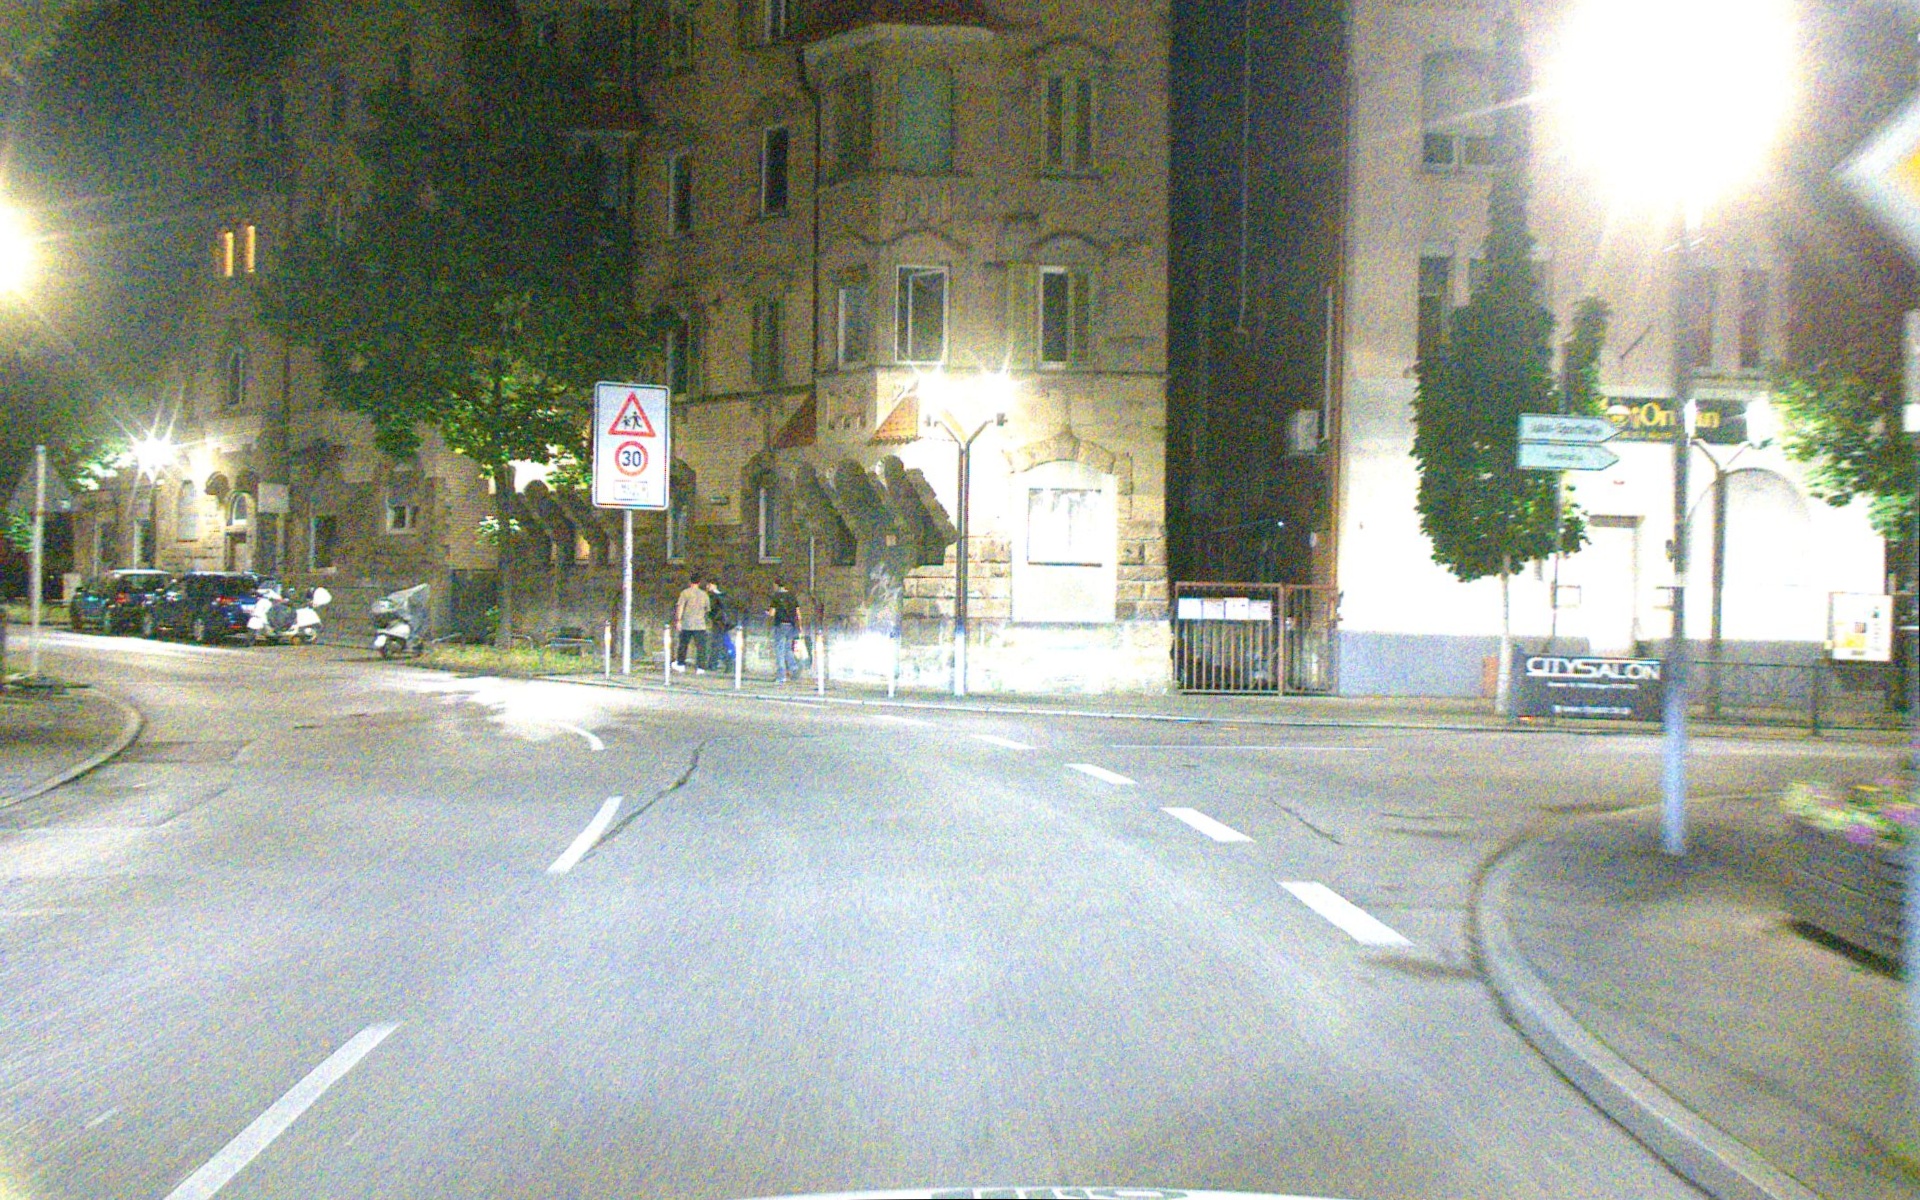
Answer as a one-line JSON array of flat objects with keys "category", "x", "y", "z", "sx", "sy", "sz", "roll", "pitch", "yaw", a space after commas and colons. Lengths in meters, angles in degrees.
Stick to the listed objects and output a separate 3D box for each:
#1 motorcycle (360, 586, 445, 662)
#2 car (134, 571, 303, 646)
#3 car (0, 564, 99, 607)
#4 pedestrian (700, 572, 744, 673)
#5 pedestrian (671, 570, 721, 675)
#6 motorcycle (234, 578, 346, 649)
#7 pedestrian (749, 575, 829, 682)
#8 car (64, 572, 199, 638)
[{"category": "motorcycle", "x": -10.509, "y": 0.429, "z": 31.262, "sx": 0.744, "sy": 1.377, "sz": 1.946, "roll": 1, "pitch": 0, "yaw": 7}, {"category": "car", "x": -16.419, "y": 0.160, "z": 36.547, "sx": 4.386, "sy": 1.527, "sz": 1.728, "roll": 1, "pitch": 0, "yaw": 41}, {"category": "car", "x": -32.663, "y": -0.499, "z": 57.999, "sx": 1.818, "sy": 1.447, "sz": 4.006, "roll": 0, "pitch": -1, "yaw": 40}, {"category": "pedestrian", "x": -4.148, "y": 0.386, "z": 28.807, "sx": 0.561, "sy": 1.739, "sz": 0.475, "roll": 1, "pitch": 0, "yaw": 43}, {"category": "pedestrian", "x": -4.489, "y": 0.375, "z": 28.129, "sx": 0.692, "sy": 1.739, "sz": 0.505, "roll": 1, "pitch": 0, "yaw": 43}, {"category": "motorcycle", "x": -14.133, "y": 0.265, "z": 34.943, "sx": 0.905, "sy": 1.430, "sz": 2.054, "roll": 2, "pitch": 2, "yaw": 32}, {"category": "pedestrian", "x": -2.723, "y": 0.450, "z": 26.343, "sx": 0.946, "sy": 1.659, "sz": 0.807, "roll": 1, "pitch": -1, "yaw": 33}, {"category": "car", "x": -20.080, "y": 0.104, "z": 40.034, "sx": 3.933, "sy": 1.479, "sz": 1.730, "roll": 2, "pitch": 1, "yaw": 44}]
